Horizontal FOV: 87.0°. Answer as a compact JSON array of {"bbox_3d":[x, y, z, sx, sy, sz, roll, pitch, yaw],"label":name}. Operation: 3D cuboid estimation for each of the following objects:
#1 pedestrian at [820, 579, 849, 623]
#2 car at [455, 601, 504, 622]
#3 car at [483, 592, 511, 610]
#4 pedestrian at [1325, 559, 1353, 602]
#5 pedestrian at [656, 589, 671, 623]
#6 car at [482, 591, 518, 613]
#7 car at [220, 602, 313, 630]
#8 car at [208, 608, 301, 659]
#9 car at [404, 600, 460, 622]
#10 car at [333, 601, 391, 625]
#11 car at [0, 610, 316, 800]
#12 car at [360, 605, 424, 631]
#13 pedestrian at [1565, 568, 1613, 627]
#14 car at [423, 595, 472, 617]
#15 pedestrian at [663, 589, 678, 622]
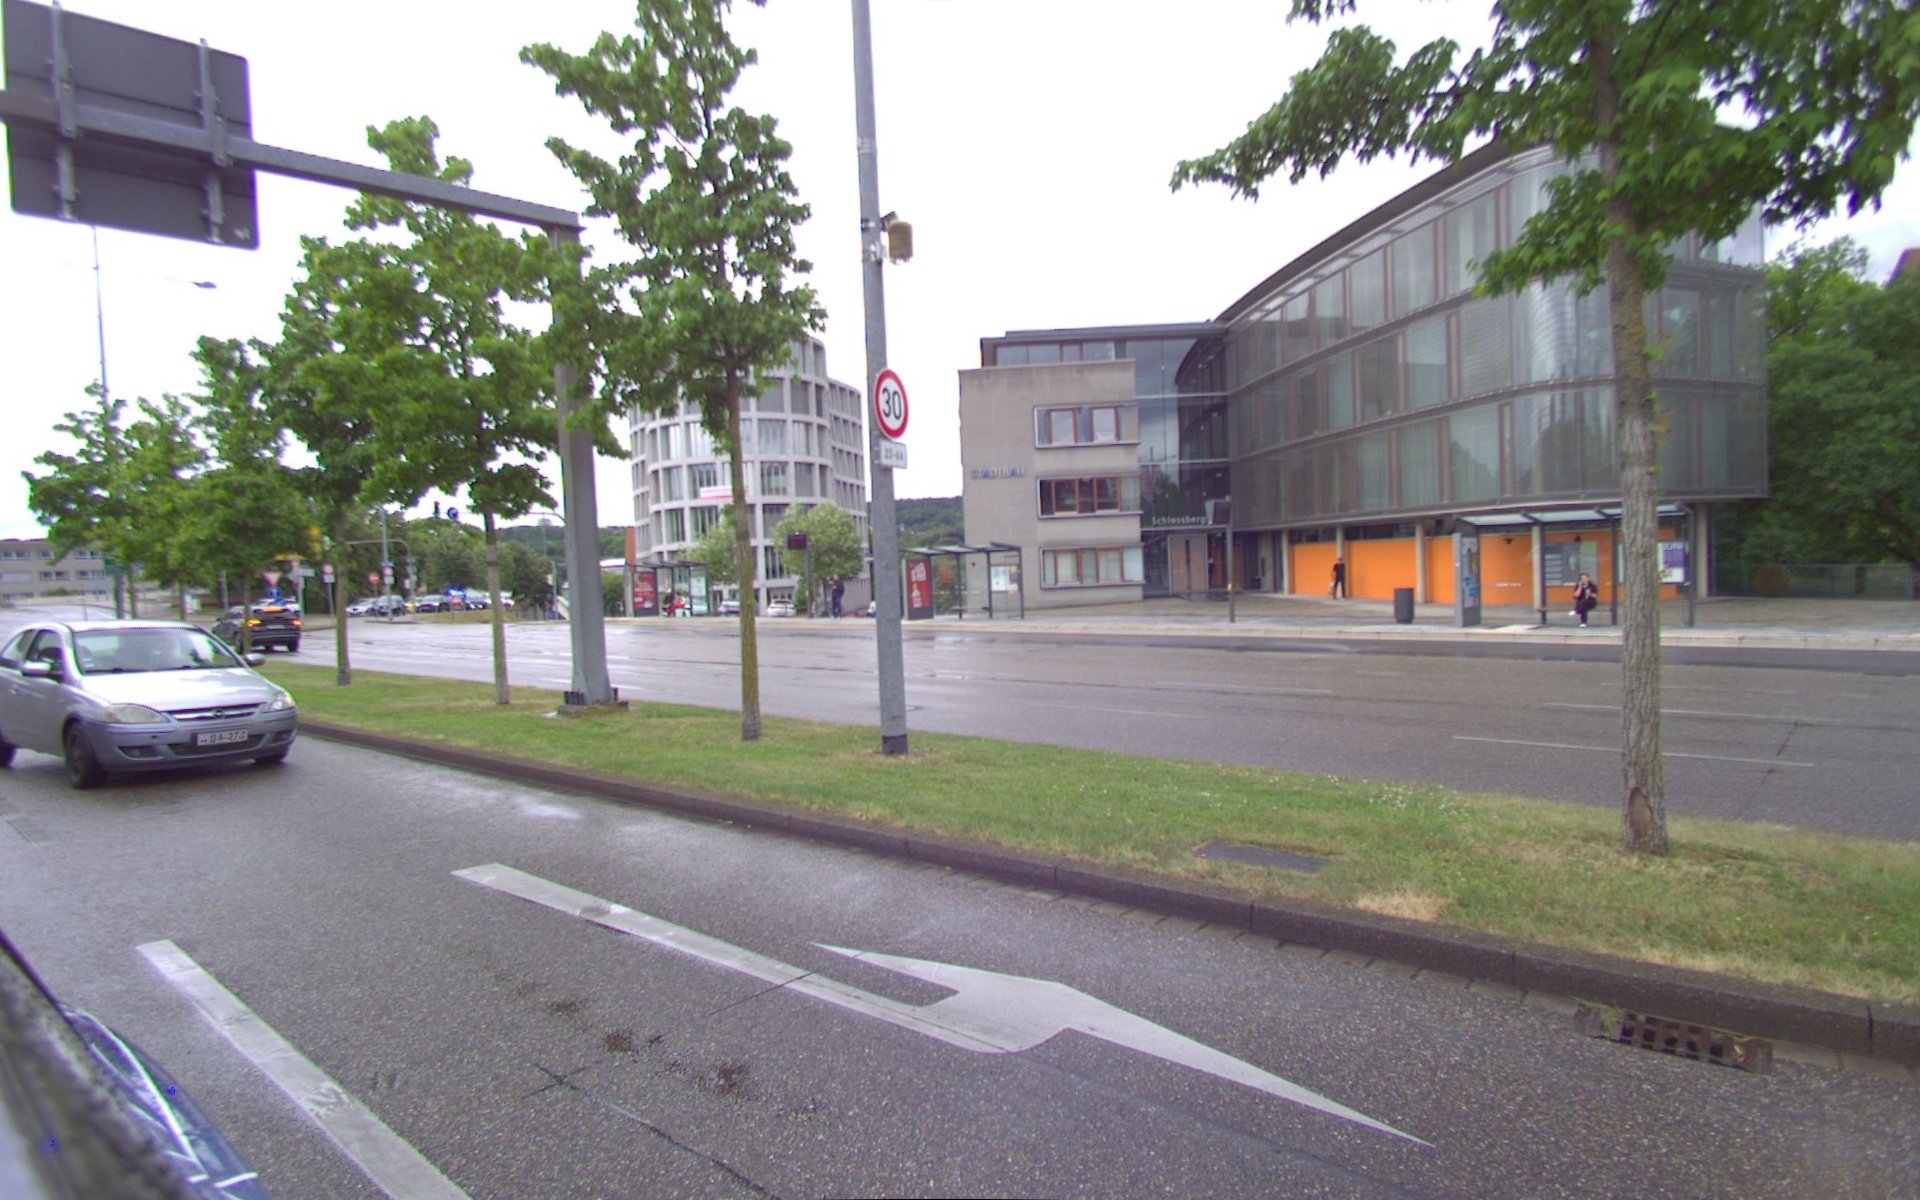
[{"bbox_3d":[-5.168,0.024,41.606,0.964,1.773,0.783,-1,0,12],"label":"pedestrian"},{"bbox_3d":[-42.470,1.023,89.574,2.164,1.725,4.920,-1,0,-3],"label":"car"},{"bbox_3d":[-48.418,0.093,105.902,2.158,1.725,4.932,-2,0,-19],"label":"car"},{"bbox_3d":[15.003,-0.774,40.096,0.697,1.666,0.852,-1,0,-6],"label":"pedestrian"},{"bbox_3d":[-14.732,0.298,50.346,0.501,1.647,0.497,-1,0,41],"label":"pedestrian"},{"bbox_3d":[-44.433,0.175,97.823,1.969,2.029,4.005,-1,0,-6],"label":"car"},{"bbox_3d":[-48.223,1.090,70.491,2.184,1.725,4.875,-1,0,25],"label":"car"},{"bbox_3d":[-25.133,1.151,36.007,4.600,1.652,1.802,-1,1,43],"label":"car"},{"bbox_3d":[-43.155,0.870,82.894,2.164,1.725,4.919,-1,0,-3],"label":"car"},{"bbox_3d":[-46.935,0.982,79.486,1.974,1.807,3.995,-1,0,4],"label":"car"},{"bbox_3d":[-8.014,0.875,9.729,3.723,1.469,1.611,-1,0,32],"label":"car"},{"bbox_3d":[-42.033,1.313,75.041,2.164,1.725,4.919,-1,0,-3],"label":"car"},{"bbox_3d":[14.603,-0.050,23.489,0.790,1.334,0.793,-1,0,42],"label":"pedestrian"},{"bbox_3d":[-49.408,0.600,97.586,5.027,2.029,2.281,-1,0,38],"label":"car"},{"bbox_3d":[-14.561,0.293,50.914,0.535,1.647,0.514,-1,0,41],"label":"pedestrian"}]
